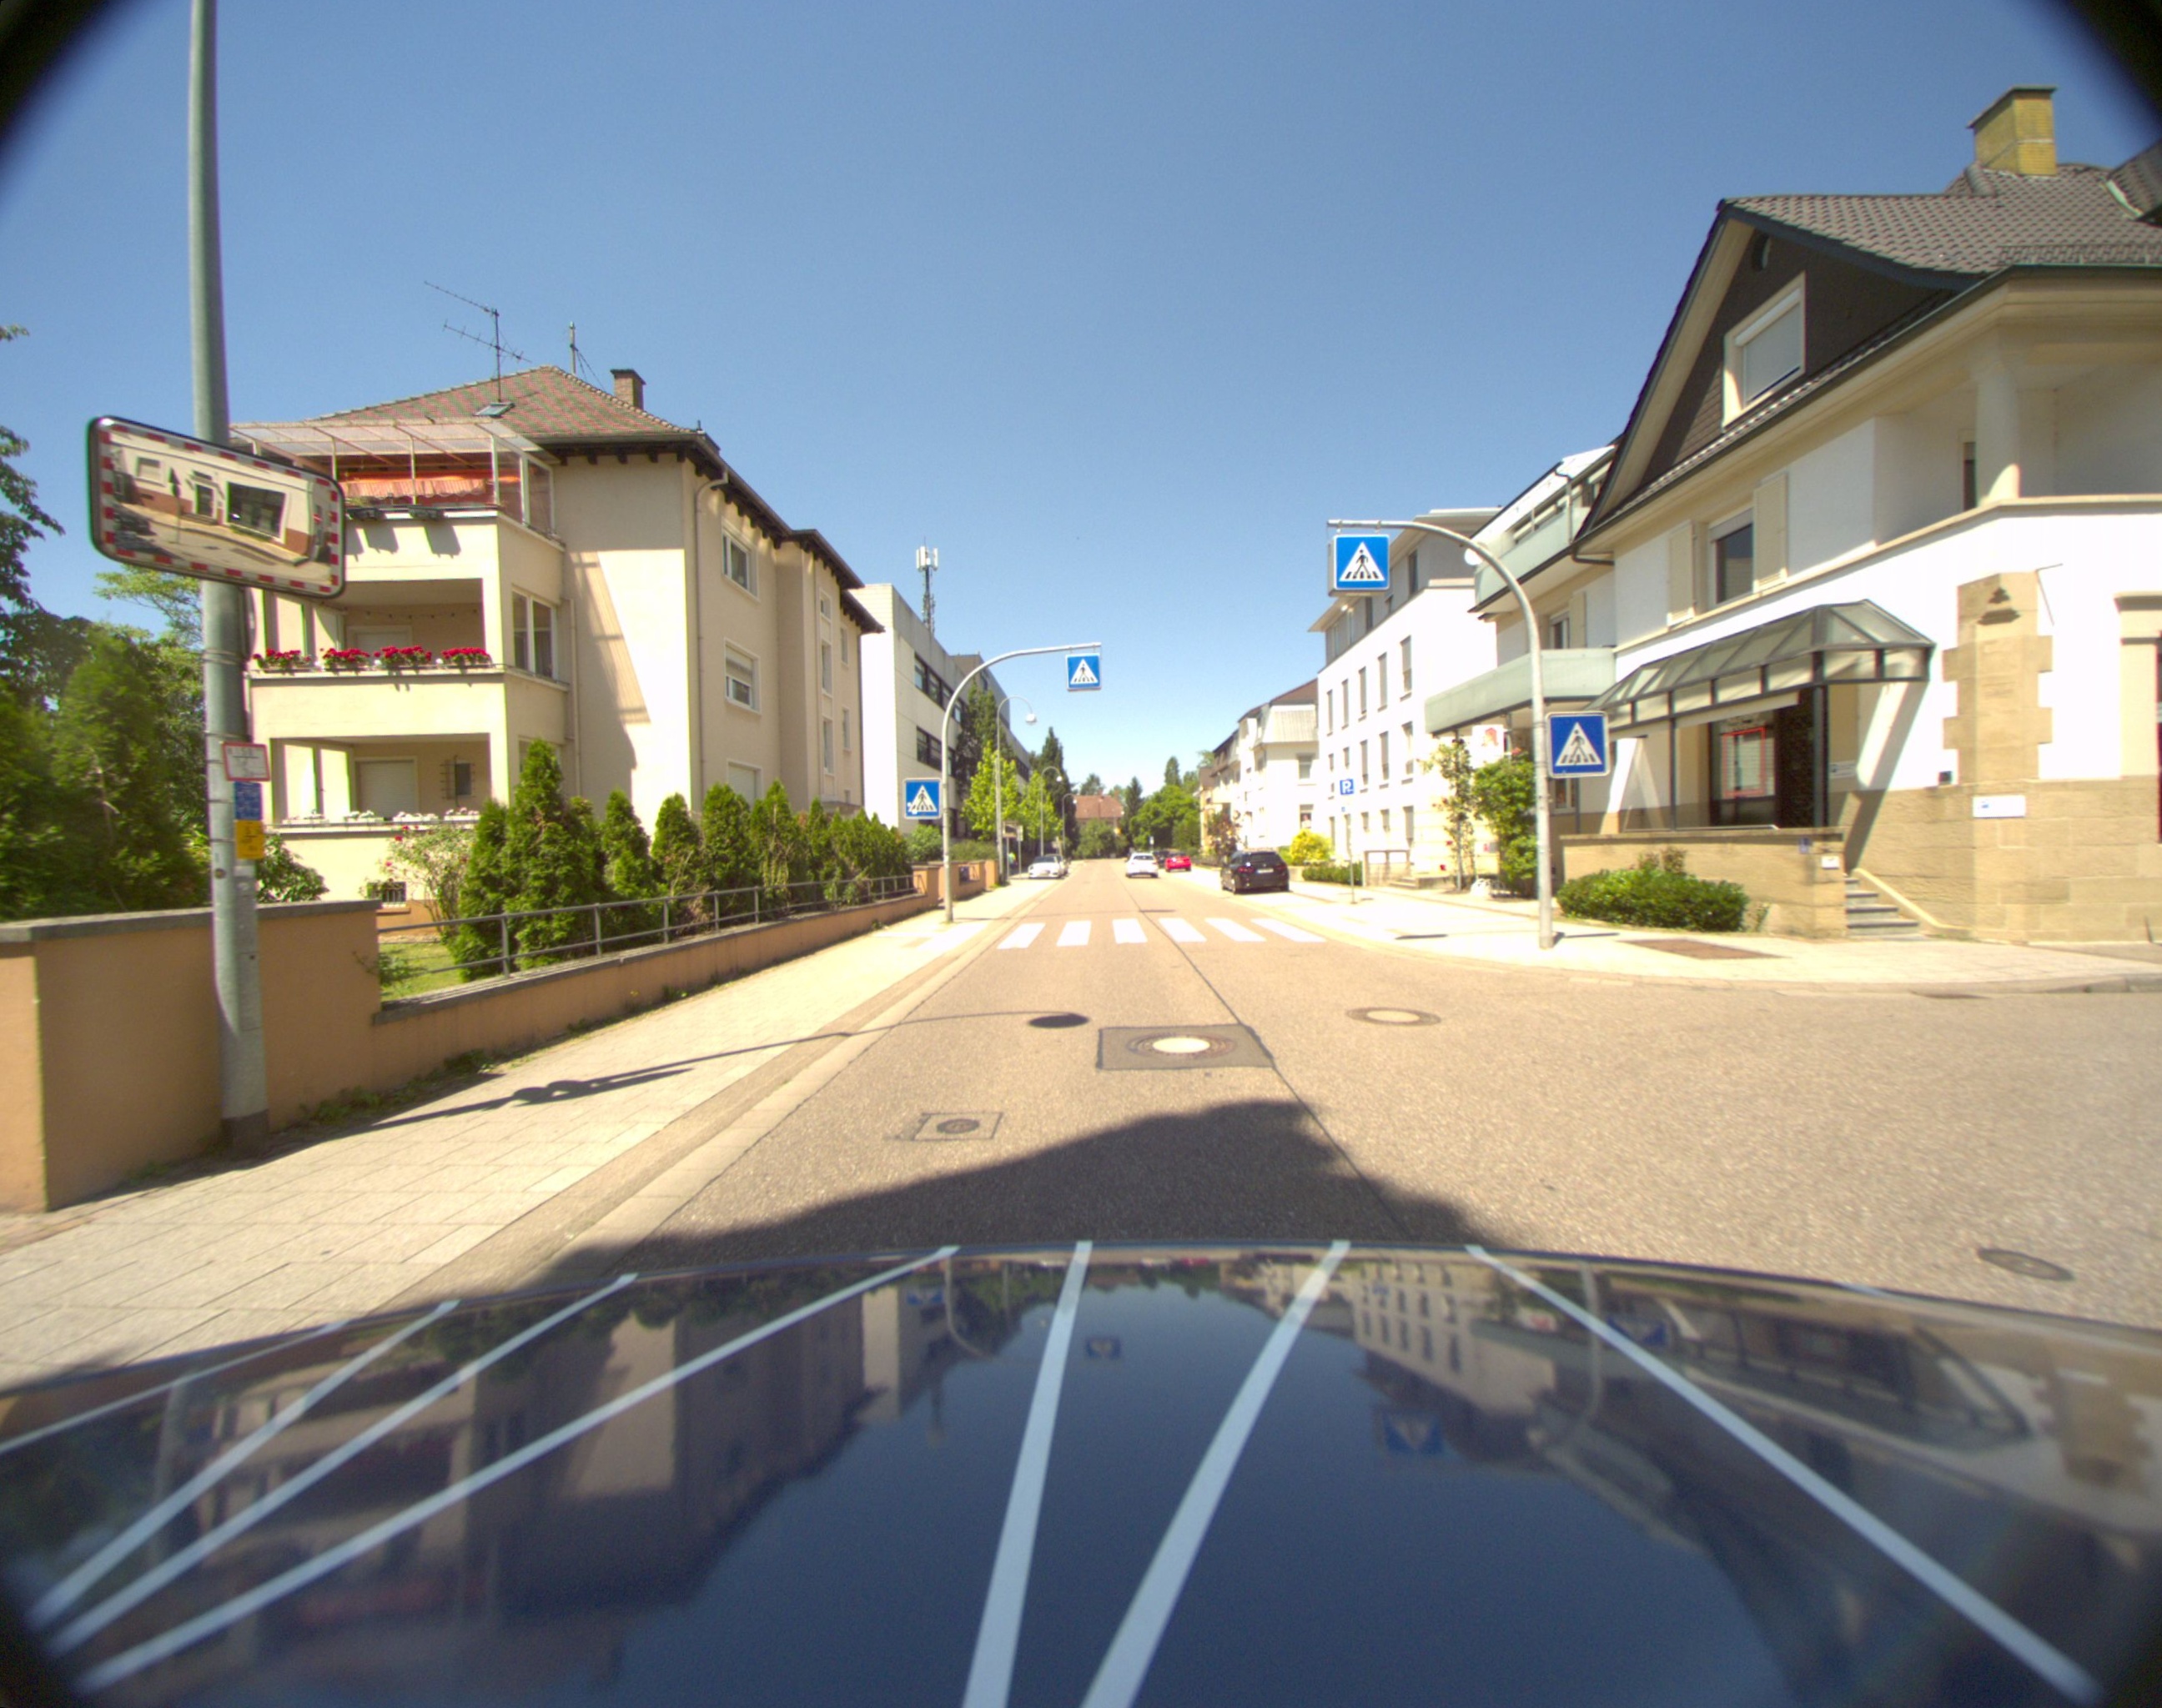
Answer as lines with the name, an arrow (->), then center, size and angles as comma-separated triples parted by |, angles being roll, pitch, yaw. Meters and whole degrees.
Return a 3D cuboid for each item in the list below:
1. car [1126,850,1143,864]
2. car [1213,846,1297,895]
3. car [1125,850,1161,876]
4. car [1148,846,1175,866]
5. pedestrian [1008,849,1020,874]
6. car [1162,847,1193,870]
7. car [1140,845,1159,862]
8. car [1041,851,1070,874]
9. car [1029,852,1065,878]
car -> 6.600, 0.382, 94.279 | 1.925, 1.668, 4.287 | -1, 1, 2
car -> 6.145, 0.508, 27.412 | 1.921, 1.444, 5.149 | -4, 0, 2
car -> 3.658, 0.487, 45.219 | 1.812, 1.474, 3.868 | 0, 1, 0
car -> 7.010, 0.132, 66.226 | 1.925, 1.577, 4.435 | -4, 1, 2
pedestrian -> -4.621, 0.486, 52.240 | 0.680, 1.690, 1.050 | 0, 1, 2
car -> 6.958, 0.292, 54.929 | 1.737, 1.444, 4.260 | -4, 1, 2
car -> 7.742, -0.080, 86.121 | 1.925, 1.681, 4.287 | -4, 1, 3
car -> -1.745, 0.578, 52.888 | 1.714, 1.490, 3.877 | -1, 1, 2
car -> -2.066, 0.662, 47.687 | 1.920, 1.460, 4.880 | -1, 1, 1
